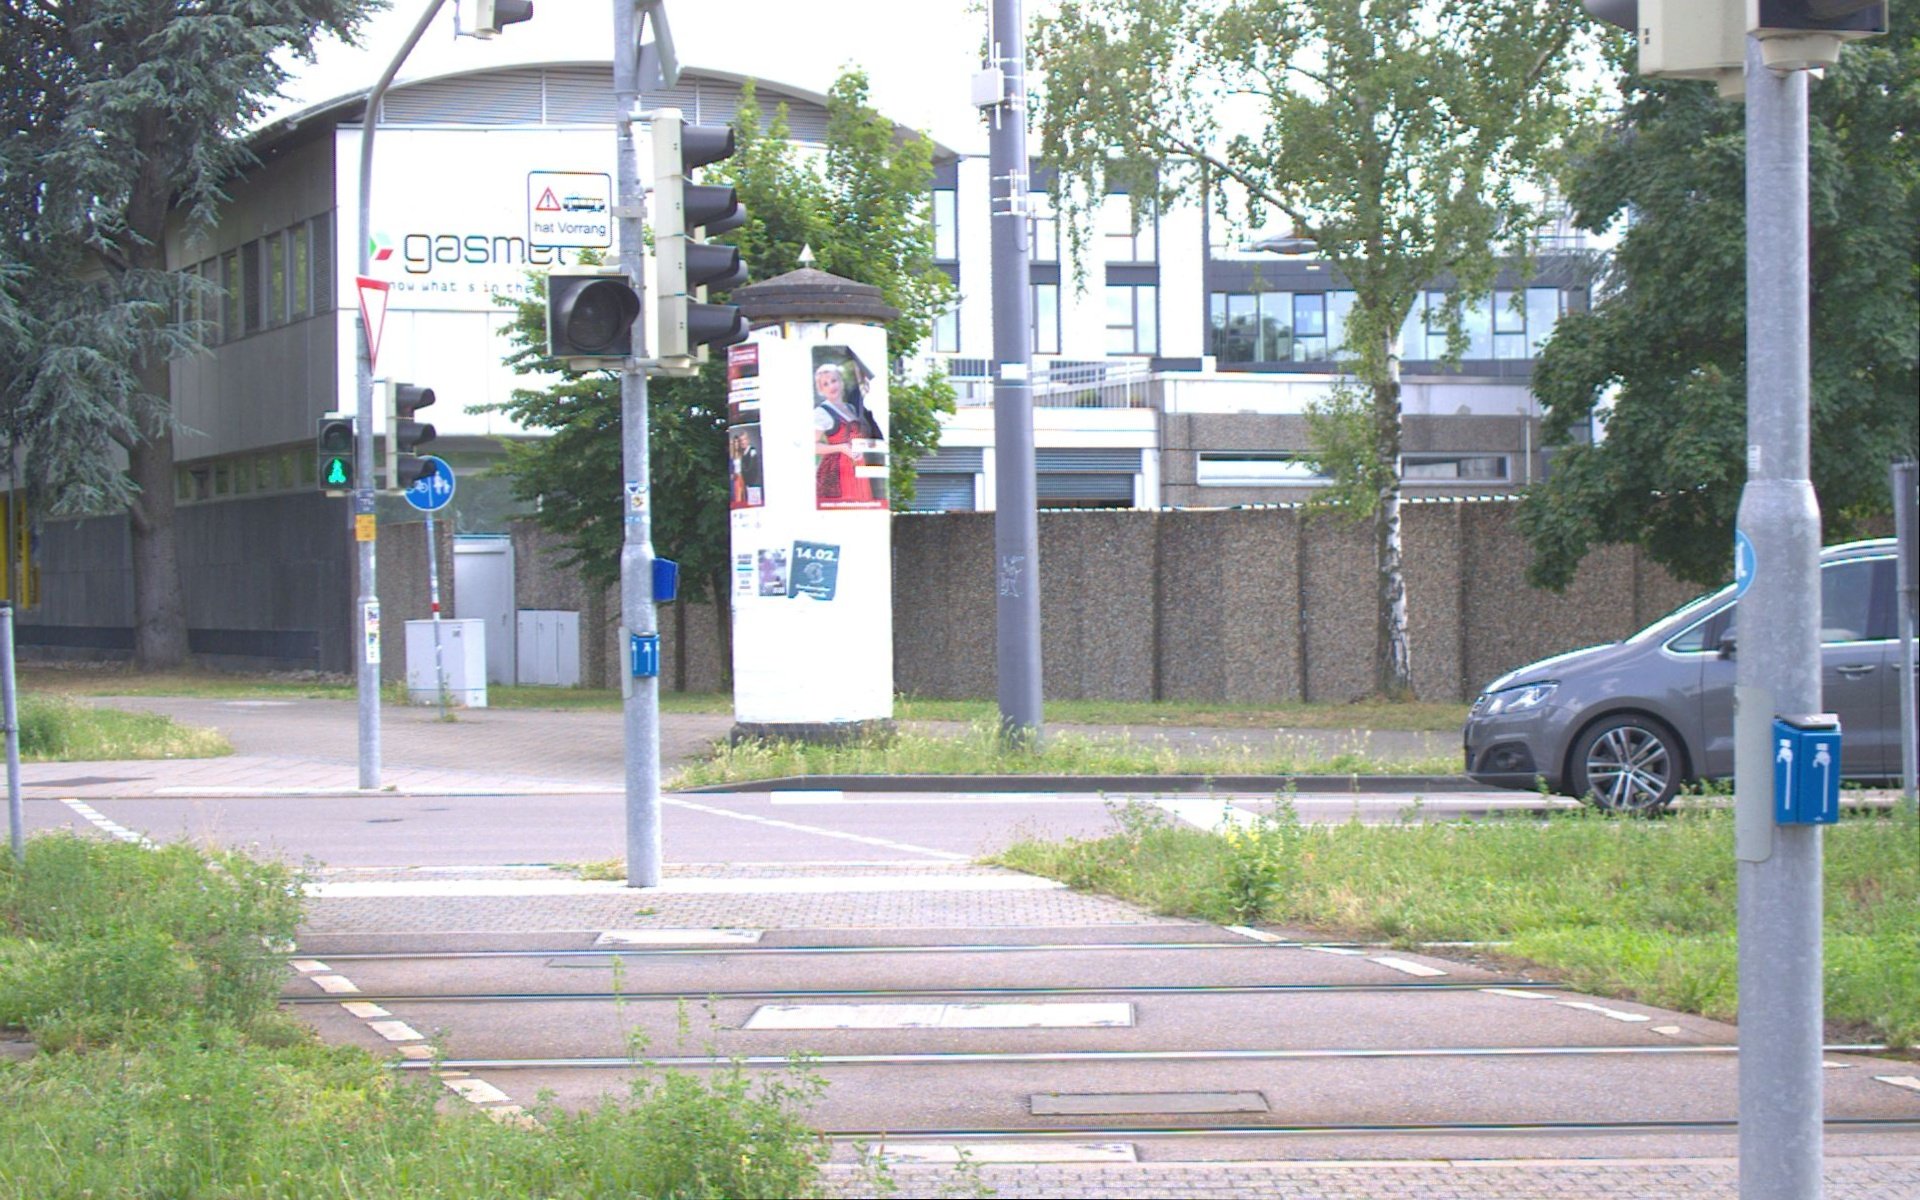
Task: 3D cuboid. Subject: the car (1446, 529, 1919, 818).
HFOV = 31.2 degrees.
[{"bbox_3d":[5.465,0.430,21.547,4.726,1.716,1.999,-1,0,7],"label":"car"}]
